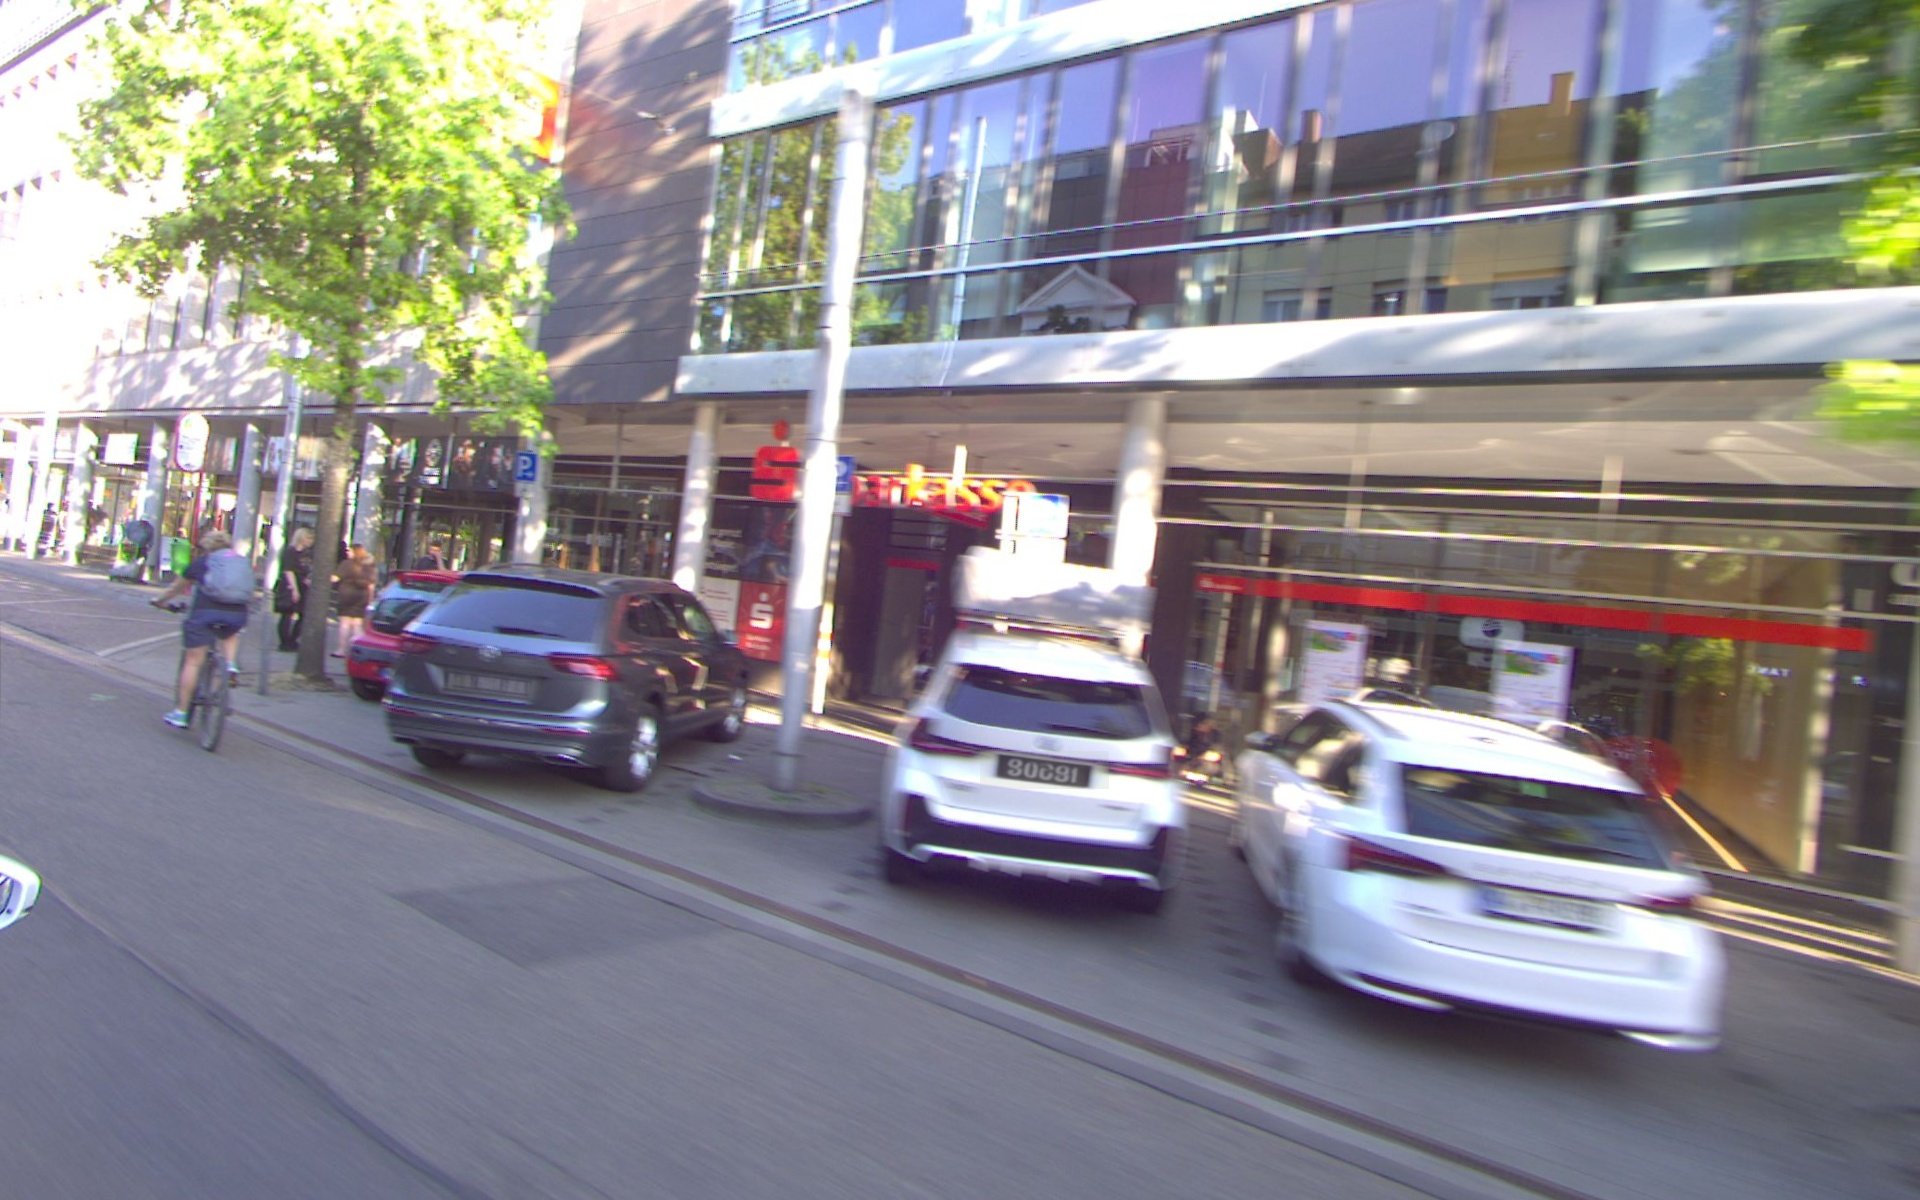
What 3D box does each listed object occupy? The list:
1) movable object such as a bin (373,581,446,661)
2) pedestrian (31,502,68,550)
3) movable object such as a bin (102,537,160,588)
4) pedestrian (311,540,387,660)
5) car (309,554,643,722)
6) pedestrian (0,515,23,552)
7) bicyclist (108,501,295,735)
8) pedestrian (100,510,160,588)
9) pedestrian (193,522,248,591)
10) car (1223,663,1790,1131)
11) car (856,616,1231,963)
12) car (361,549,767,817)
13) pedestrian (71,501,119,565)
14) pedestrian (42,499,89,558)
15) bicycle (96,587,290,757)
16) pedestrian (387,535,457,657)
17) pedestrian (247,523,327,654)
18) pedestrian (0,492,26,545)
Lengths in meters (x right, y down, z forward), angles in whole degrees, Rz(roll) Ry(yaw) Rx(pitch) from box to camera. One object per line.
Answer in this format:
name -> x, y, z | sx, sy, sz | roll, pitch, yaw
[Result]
movable object such as a bin -> -8.114, 0.295, 14.858 | 0.678, 1.077, 0.831 | 6, 1, -15
pedestrian -> -32.039, -2.609, 35.386 | 0.783, 1.560, 0.643 | 7, -1, 33
movable object such as a bin -> -17.870, -0.808, 21.686 | 0.706, 0.934, 0.691 | 7, -3, 33
pedestrian -> -8.483, 0.003, 13.998 | 0.598, 1.572, 0.687 | 6, 1, -13
car -> -5.425, 0.411, 11.771 | 1.635, 1.499, 3.399 | 6, 0, 14
pedestrian -> -29.382, -2.061, 30.787 | 0.686, 1.042, 0.836 | 7, -2, 38
bicyclist -> -5.804, 0.133, 7.700 | 0.900, 1.630, 0.777 | 6, -3, 42
pedestrian -> -18.249, -1.118, 22.128 | 0.622, 1.590, 0.683 | 7, -2, 33
pedestrian -> -18.815, -1.115, 25.583 | 0.911, 1.607, 0.697 | 7, -1, 33
car -> 2.761, 1.333, 6.226 | 1.656, 1.518, 4.161 | 6, 0, 9
car -> 0.518, 1.048, 7.523 | 1.849, 1.607, 4.249 | 6, 0, 2
car -> -3.169, 0.583, 9.130 | 1.663, 1.673, 4.356 | 6, 0, 2
pedestrian -> -26.618, -2.071, 30.966 | 0.844, 1.813, 0.745 | 7, -1, 33
pedestrian -> -28.381, -2.256, 31.914 | 0.844, 1.720, 0.745 | 7, -1, 33
bicycle -> -5.981, 0.523, 7.794 | 2.031, 1.006, 0.718 | 6, -4, 42
pedestrian -> -8.223, -0.061, 15.405 | 0.678, 1.753, 0.630 | 6, 1, -15
pedestrian -> -9.315, -0.157, 13.944 | 0.672, 1.707, 0.692 | 6, 1, -23
pedestrian -> -33.764, -2.889, 35.605 | 0.822, 1.761, 0.716 | 7, -1, 33
